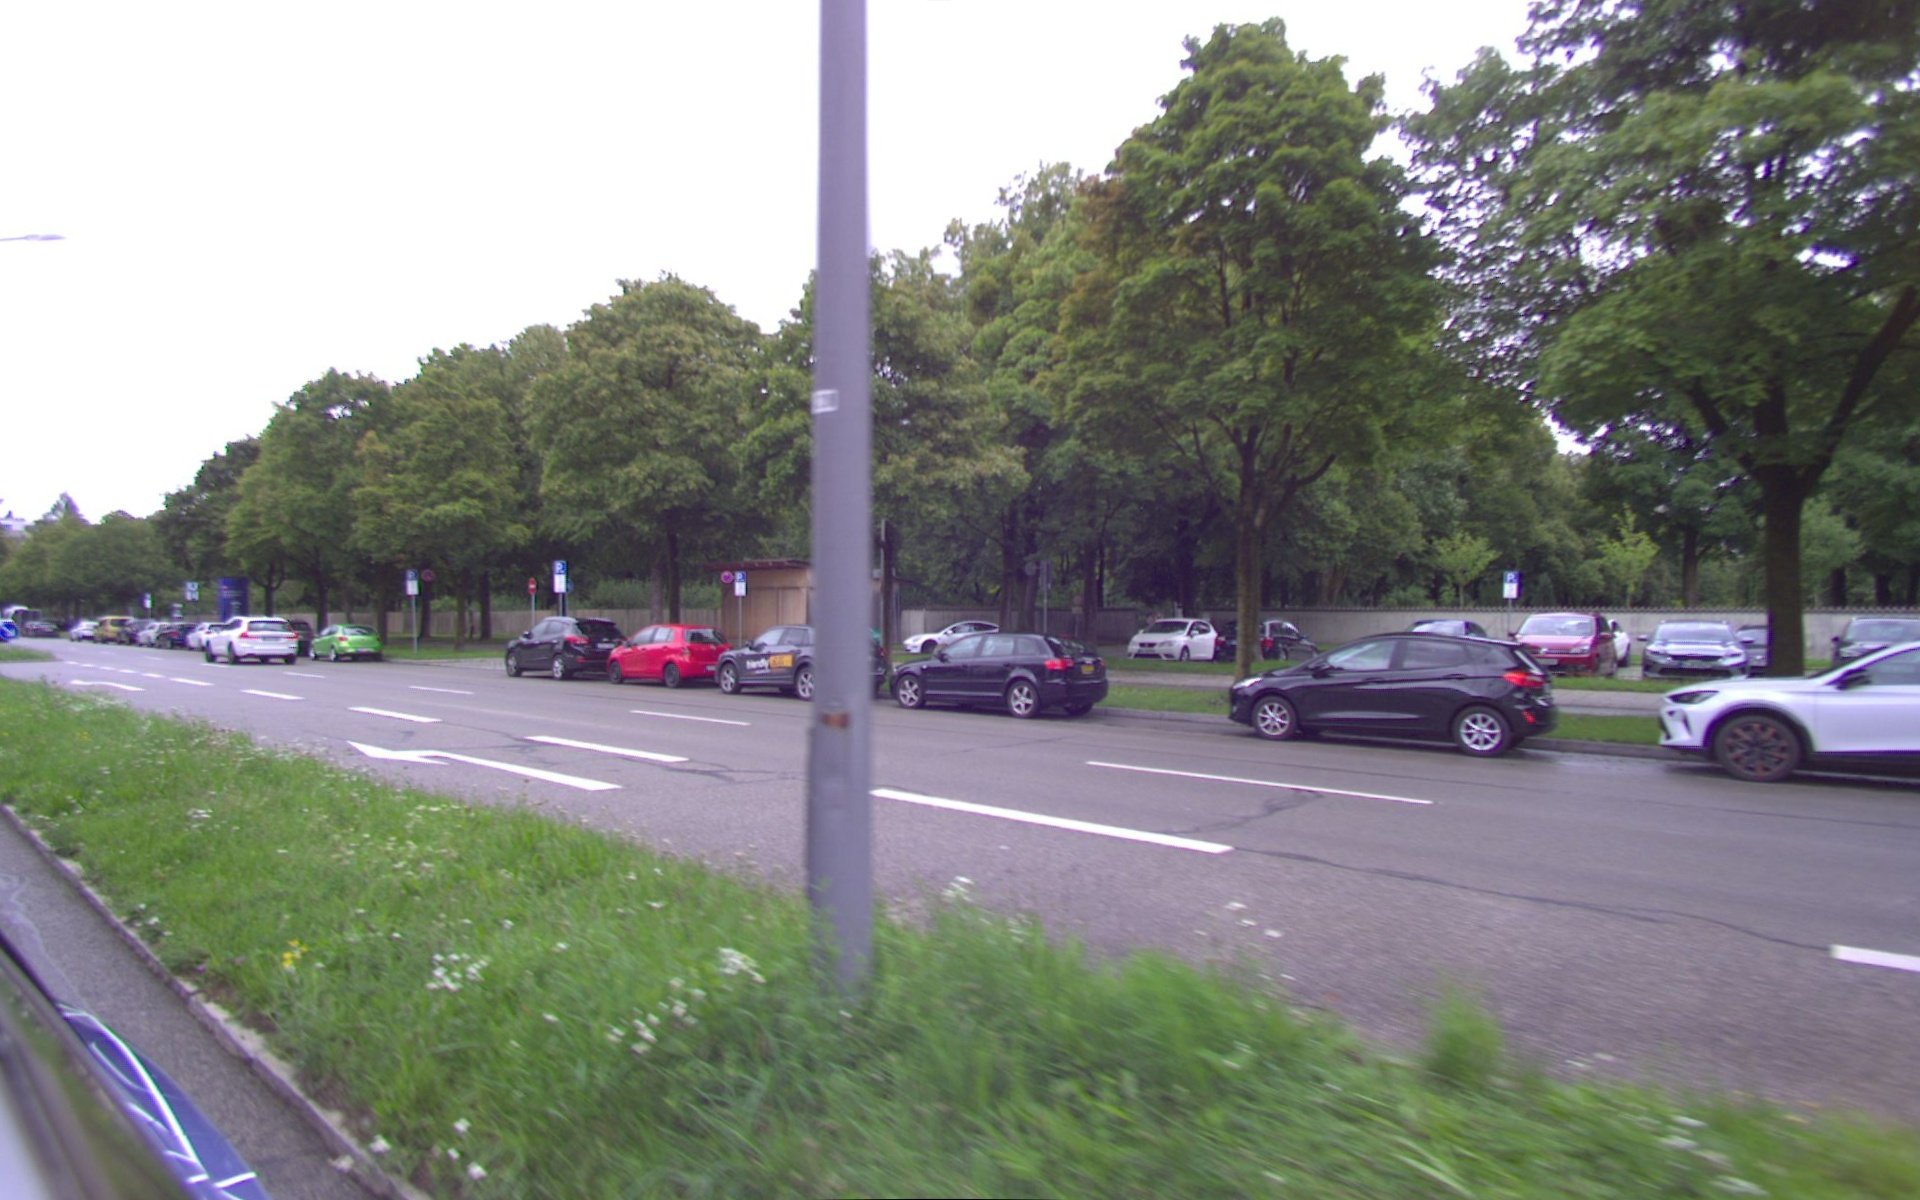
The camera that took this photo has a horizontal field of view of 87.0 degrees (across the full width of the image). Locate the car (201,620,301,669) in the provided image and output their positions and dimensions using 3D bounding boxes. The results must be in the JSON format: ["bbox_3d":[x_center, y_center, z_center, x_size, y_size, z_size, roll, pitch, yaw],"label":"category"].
[{"bbox_3d":[-24.891,1.561,35.483,4.400,1.612,1.831,-1,-4,41],"label":"car"}]

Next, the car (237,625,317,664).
[{"bbox_3d":[-30.314,1.936,44.881,4.454,1.643,1.802,-1,-3,41],"label":"car"}]

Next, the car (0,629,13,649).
[{"bbox_3d":[-76.926,3.122,80.630,3.720,1.565,1.802,-1,-2,42],"label":"car"}]

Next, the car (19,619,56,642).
[{"bbox_3d":[-83.608,2.750,91.689,3.997,2.029,1.973,-1,-2,41],"label":"car"}]

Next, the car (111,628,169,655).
[{"bbox_3d":[-51.525,2.582,63.578,4.037,1.628,1.982,-1,-3,39],"label":"car"}]

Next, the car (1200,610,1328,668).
[{"bbox_3d":[8.378,1.015,27.716,1.998,1.453,4.095,-1,-1,38],"label":"car"}]

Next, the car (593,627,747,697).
[{"bbox_3d":[-7.140,1.440,24.758,3.807,1.490,1.803,0,-1,40],"label":"car"}]

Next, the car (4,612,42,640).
[{"bbox_3d":[-89.393,2.469,96.527,4.495,2.611,1.974,-1,-3,39],"label":"car"}]

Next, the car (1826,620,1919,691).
[{"bbox_3d":[18.136,1.017,19.537,1.686,1.268,3.953,-1,-2,34],"label":"car"}]

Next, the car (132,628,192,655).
[{"bbox_3d":[-46.744,2.419,59.228,4.296,1.481,1.803,-1,-3,39],"label":"car"}]

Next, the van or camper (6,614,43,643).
[{"bbox_3d":[-93.507,2.816,101.121,4.926,2.829,1.974,-1,-3,39],"label":"van or camper"}]

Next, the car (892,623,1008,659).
[{"bbox_3d":[-0.419,1.643,41.343,4.393,1.420,1.865,0,-1,-16],"label":"car"}]

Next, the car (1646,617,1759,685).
[{"bbox_3d":[15.451,1.014,21.220,1.736,1.293,3.953,-1,-2,34],"label":"car"}]

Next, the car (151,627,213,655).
[{"bbox_3d":[-42.876,2.264,55.764,3.784,1.457,1.803,-1,-4,39],"label":"car"}]

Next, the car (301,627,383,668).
[{"bbox_3d":[-24.019,1.820,39.297,3.999,1.511,1.623,-2,-4,42],"label":"car"}]

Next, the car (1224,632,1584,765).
[{"bbox_3d":[5.694,1.168,13.208,3.994,1.459,1.804,-1,-3,38],"label":"car"}]

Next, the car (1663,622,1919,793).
[{"bbox_3d":[9.555,1.045,9.886,4.295,1.539,1.803,0,-2,40],"label":"car"}]

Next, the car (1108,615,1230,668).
[{"bbox_3d":[6.249,1.190,29.981,1.998,1.453,3.948,-1,-1,39],"label":"car"}]

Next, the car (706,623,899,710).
[{"bbox_3d":[-3.340,1.291,21.018,4.112,1.611,1.802,-1,-2,42],"label":"car"}]

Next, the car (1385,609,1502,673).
[{"bbox_3d":[12.090,0.968,25.167,1.996,1.453,3.952,-1,-1,35],"label":"car"}]

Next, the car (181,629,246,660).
[{"bbox_3d":[-38.478,2.264,52.106,4.258,1.488,1.802,-1,-4,42],"label":"car"}]

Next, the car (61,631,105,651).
[{"bbox_3d":[-64.365,2.988,74.247,4.037,1.454,1.695,-1,-3,39],"label":"car"}]

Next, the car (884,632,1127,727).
[{"bbox_3d":[0.708,1.298,17.525,4.000,1.420,1.801,-1,-3,43],"label":"car"}]

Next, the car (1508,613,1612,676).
[{"bbox_3d":[13.739,0.977,23.086,1.737,1.293,3.952,-1,-2,35],"label":"car"}]

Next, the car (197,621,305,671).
[{"bbox_3d":[-24.995,1.574,35.619,4.681,1.632,2.004,-1,-3,41],"label":"car"}]

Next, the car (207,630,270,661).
[{"bbox_3d":[-34.780,2.183,48.736,3.686,1.433,1.632,-1,-4,42],"label":"car"}]

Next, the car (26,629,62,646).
[{"bbox_3d":[-80.068,3.262,88.431,4.037,1.420,1.695,-1,-3,39],"label":"car"}]

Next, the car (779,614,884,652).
[{"bbox_3d":[-5.058,1.281,39.773,3.793,1.420,1.865,0,-1,-19],"label":"car"}]

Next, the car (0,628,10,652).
[{"bbox_3d":[-62.755,2.557,65.141,4.778,1.459,1.797,-1,-3,40],"label":"car"}]

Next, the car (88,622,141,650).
[{"bbox_3d":[-56.284,2.412,67.358,4.529,1.784,1.839,-1,-3,39],"label":"car"}]

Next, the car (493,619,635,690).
[{"bbox_3d":[-10.861,1.421,27.642,4.236,1.712,1.803,0,-1,40],"label":"car"}]

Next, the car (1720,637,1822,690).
[{"bbox_3d":[23.772,1.812,29.615,3.941,1.383,1.879,1,-2,-45],"label":"car"}]
